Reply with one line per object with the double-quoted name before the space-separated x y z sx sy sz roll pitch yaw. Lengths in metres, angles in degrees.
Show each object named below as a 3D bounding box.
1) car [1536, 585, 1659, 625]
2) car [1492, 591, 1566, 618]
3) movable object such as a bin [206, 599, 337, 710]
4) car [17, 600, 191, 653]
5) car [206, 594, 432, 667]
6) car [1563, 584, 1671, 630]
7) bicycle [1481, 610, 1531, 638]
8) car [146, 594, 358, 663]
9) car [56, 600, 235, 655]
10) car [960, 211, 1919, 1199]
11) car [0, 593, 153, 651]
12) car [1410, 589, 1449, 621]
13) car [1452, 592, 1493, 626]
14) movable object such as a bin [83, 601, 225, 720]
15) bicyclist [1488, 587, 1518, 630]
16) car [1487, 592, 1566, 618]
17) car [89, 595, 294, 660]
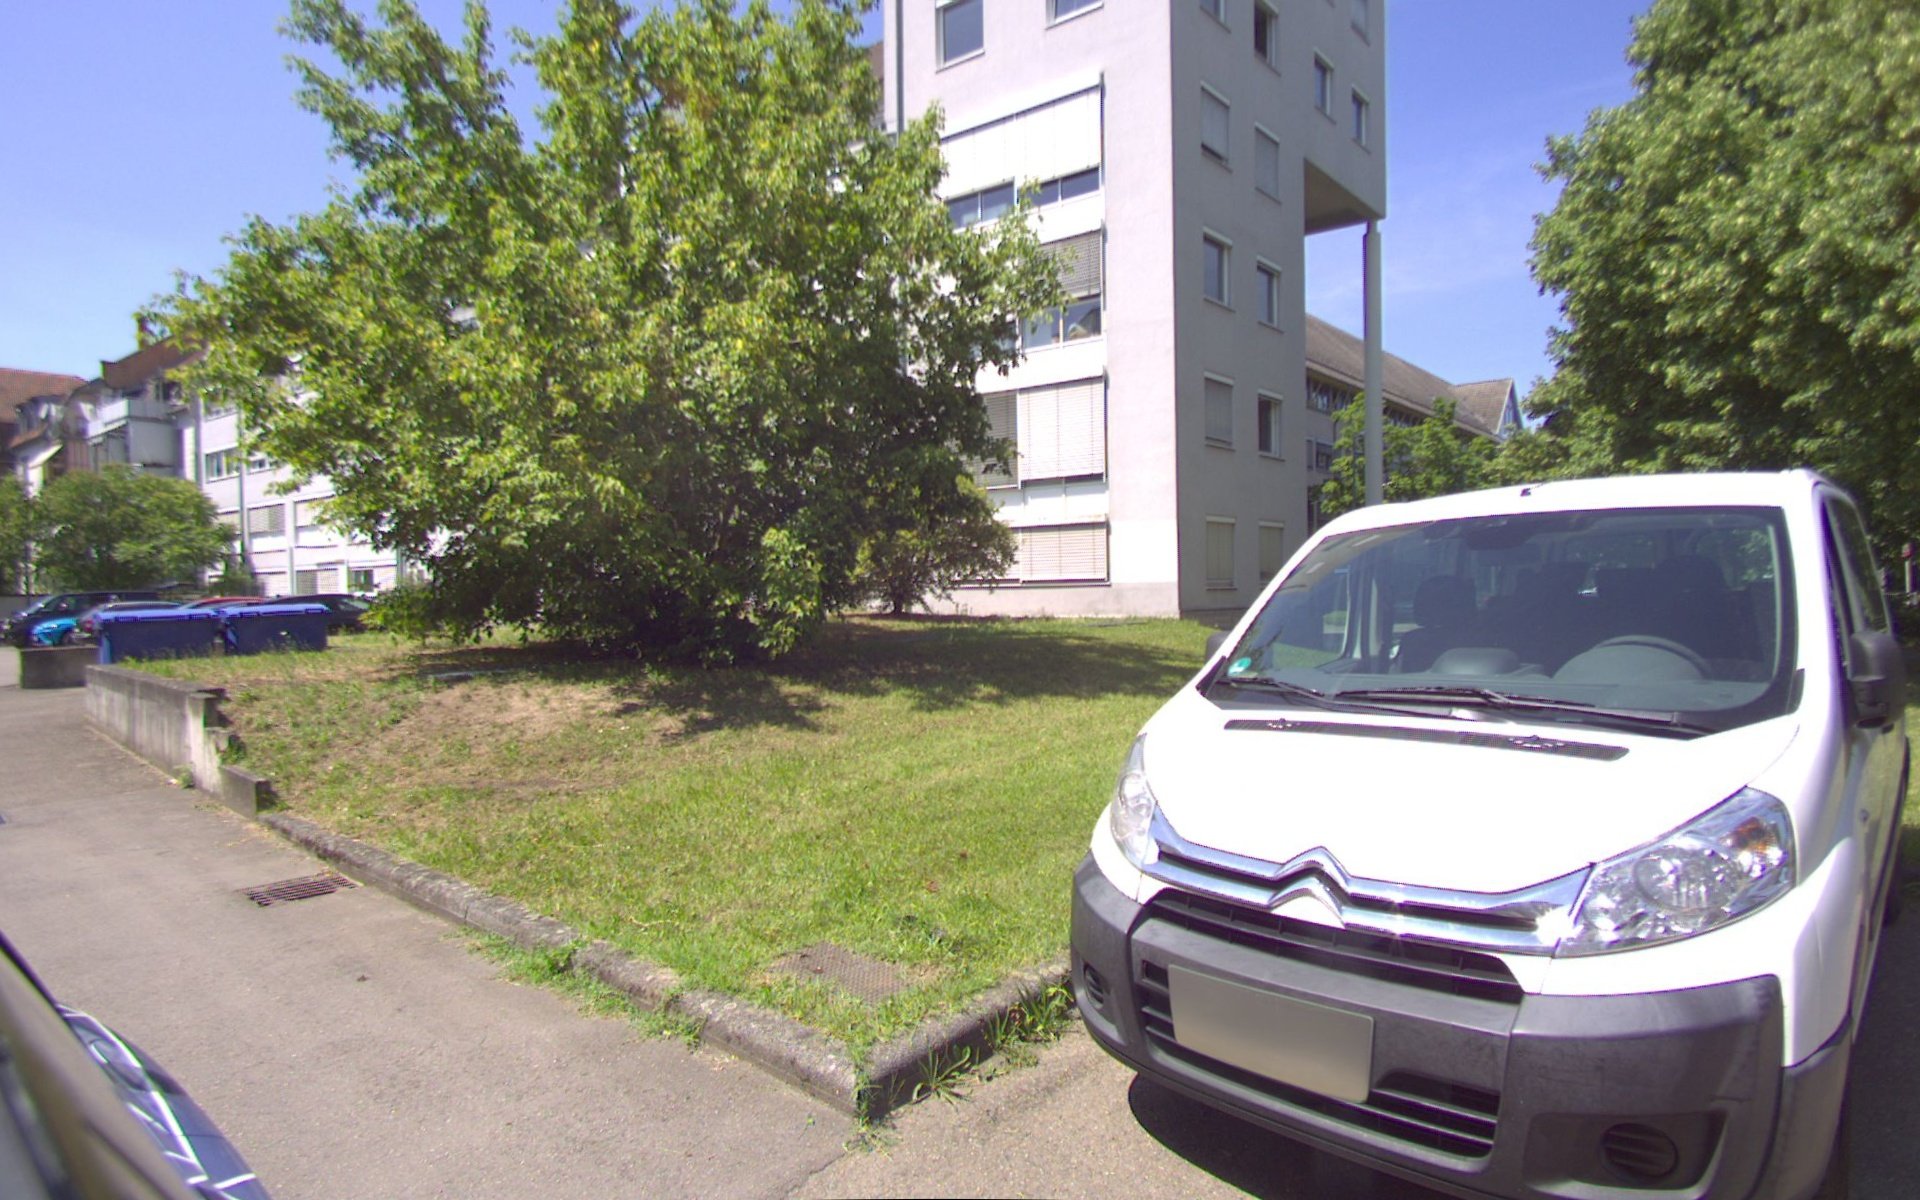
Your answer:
"car" 27.645 0.188 43.951 4.338 1.622 1.908 0 1 40
"car" 36.143 0.282 64.284 3.891 1.643 1.514 0 1 40
"movable object such as a bin" -9.423 0.700 13.862 1.095 1.399 1.254 0 1 42
"car" -28.400 0.836 33.713 1.610 1.580 4.173 0 1 36
"car" -15.470 0.656 24.658 1.610 1.580 4.392 0 1 36
"car" 30.240 0.284 46.628 3.997 2.029 1.973 0 1 40
"bicycle" 14.008 0.605 25.959 0.734 0.646 1.593 -4 -2 43
"car" -17.988 0.657 25.896 1.610 1.580 4.173 0 1 36
"car" -25.736 0.820 32.108 1.610 1.580 4.173 0 1 36
"car" 2.403 0.344 3.871 2.068 1.897 4.793 0 1 44
"car" -30.980 0.705 35.229 2.006 1.837 4.173 0 1 36
"car" 24.922 0.245 53.661 1.799 1.615 3.859 0 1 27
"car" 26.166 0.422 51.681 1.799 1.615 3.859 0 1 27
"movable object such as a bin" -10.257 0.718 12.887 1.095 1.399 1.254 0 1 42
"bicyclist" 13.846 0.213 25.801 0.518 1.053 0.515 -4 -3 44
"car" 34.644 0.304 61.911 3.997 1.541 1.723 0 1 40
"car" -20.864 0.687 27.633 1.610 1.580 4.173 0 1 36
